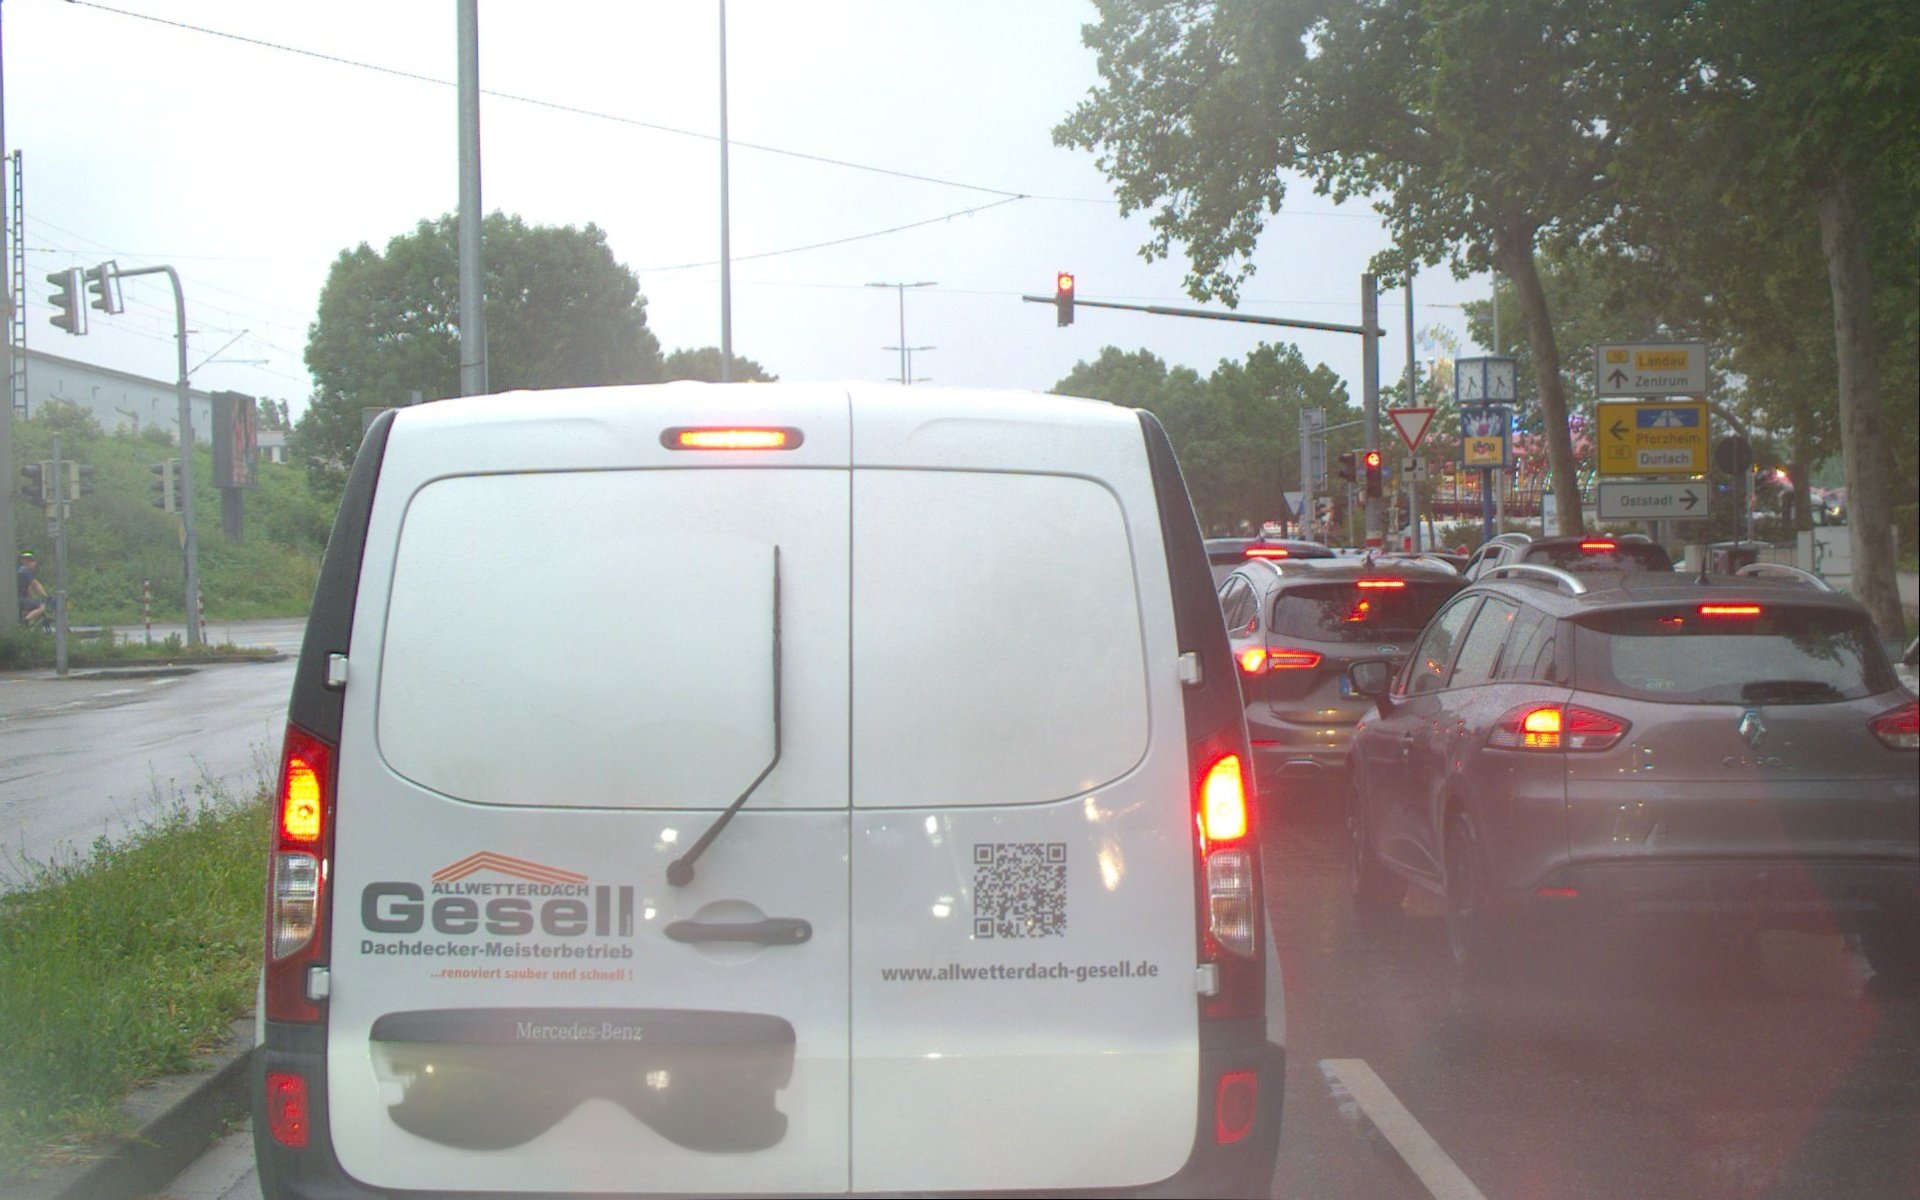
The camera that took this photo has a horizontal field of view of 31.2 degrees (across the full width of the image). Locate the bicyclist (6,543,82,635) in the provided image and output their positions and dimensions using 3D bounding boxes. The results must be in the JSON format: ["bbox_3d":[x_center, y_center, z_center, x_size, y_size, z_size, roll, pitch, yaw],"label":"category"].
[{"bbox_3d":[-14.791,-0.188,55.508,1.040,1.445,0.729,-2,2,-25],"label":"bicyclist"}]

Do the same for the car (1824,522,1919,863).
[{"bbox_3d":[5.501,0.472,15.973,1.876,1.607,4.000,1,1,-1],"label":"car"}]

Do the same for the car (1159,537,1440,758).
[{"bbox_3d":[2.673,0.323,27.862,1.854,1.644,3.843,0,1,-1],"label":"car"}]

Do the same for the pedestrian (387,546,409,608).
[{"bbox_3d":[-15.709,-0.644,96.167,0.543,1.710,0.563,1,0,-4],"label":"pedestrian"}]

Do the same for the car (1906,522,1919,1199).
[{"bbox_3d":[2.977,0.645,5.411,1.747,1.549,4.091,0,1,-1],"label":"car"}]

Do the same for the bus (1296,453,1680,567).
[{"bbox_3d":[16.961,-2.910,110.878,11.970,3.411,2.315,-1,1,0],"label":"bus"}]

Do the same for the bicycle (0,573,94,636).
[{"bbox_3d":[-14.816,0.058,55.576,1.040,0.949,2.889,-2,2,-25],"label":"bicycle"}]

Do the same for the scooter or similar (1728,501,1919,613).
[{"bbox_3d":[19.987,-0.979,77.064,1.890,2.437,5.316,-1,1,-41],"label":"scooter or similar"}]

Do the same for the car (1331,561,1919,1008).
[{"bbox_3d":[2.516,0.583,13.115,1.683,1.403,3.843,1,1,-1],"label":"car"}]

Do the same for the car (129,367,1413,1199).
[{"bbox_3d":[-0.316,0.477,7.653,1.993,1.770,4.585,0,1,-1],"label":"car"}]

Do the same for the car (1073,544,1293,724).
[{"bbox_3d":[2.115,0.295,33.526,1.854,1.644,3.843,0,1,-1],"label":"car"}]

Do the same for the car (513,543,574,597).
[{"bbox_3d":[-12.868,-0.944,106.379,1.468,1.554,3.508,-1,2,-1],"label":"car"}]

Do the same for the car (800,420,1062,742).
[{"bbox_3d":[-0.227,-0.177,26.423,1.854,2.288,3.843,0,1,-1],"label":"car"}]

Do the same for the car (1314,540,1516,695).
[{"bbox_3d":[5.055,0.166,38.635,1.708,1.644,3.843,0,1,-1],"label":"car"}]

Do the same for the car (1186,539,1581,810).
[{"bbox_3d":[2.432,0.373,20.634,1.854,1.455,3.843,0,1,-1],"label":"car"}]
